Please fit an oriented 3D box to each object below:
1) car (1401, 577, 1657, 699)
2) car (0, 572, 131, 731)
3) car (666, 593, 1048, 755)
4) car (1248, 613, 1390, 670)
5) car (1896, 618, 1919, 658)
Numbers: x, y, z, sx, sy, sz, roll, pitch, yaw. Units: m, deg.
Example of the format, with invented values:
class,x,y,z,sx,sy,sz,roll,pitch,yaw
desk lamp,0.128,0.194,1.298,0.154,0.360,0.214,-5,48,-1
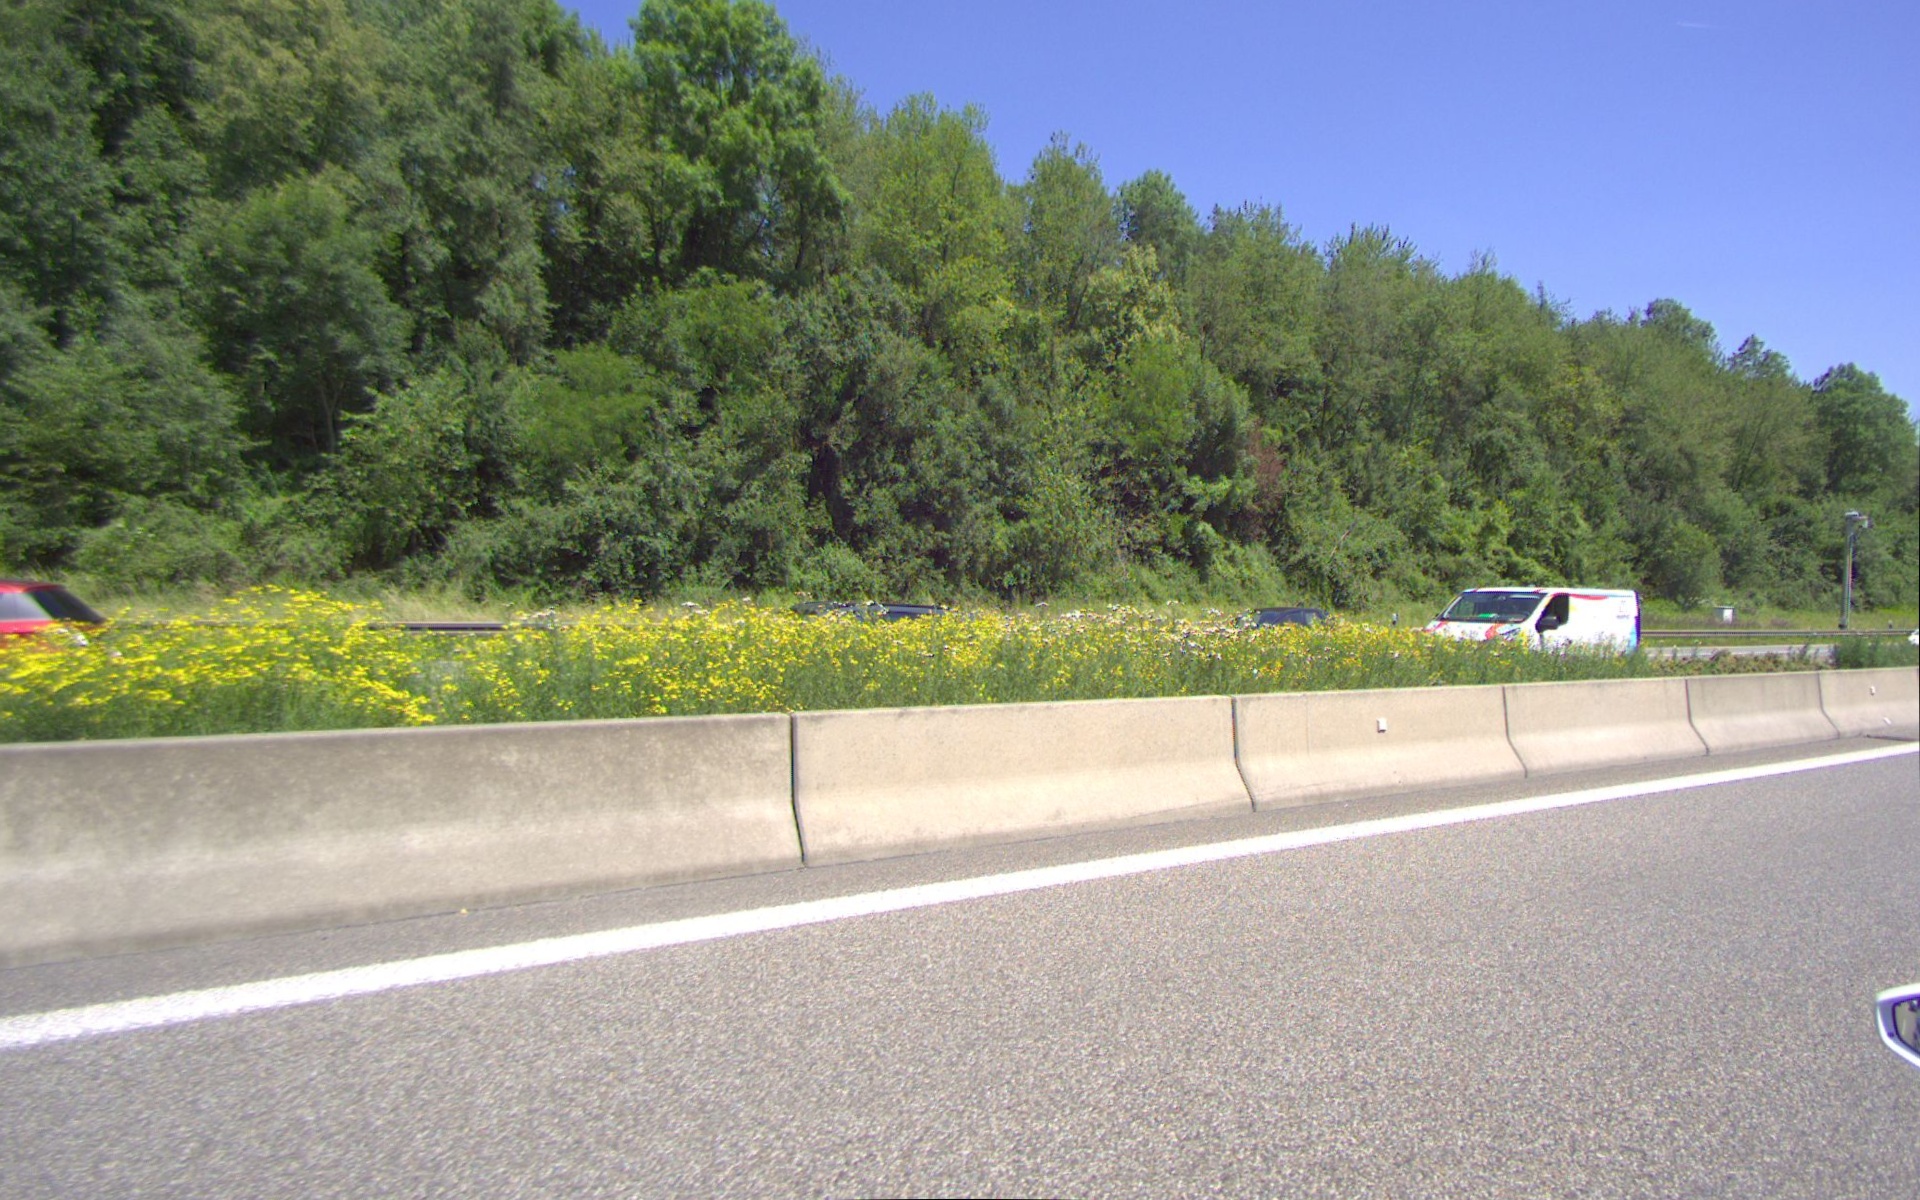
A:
class,x,y,z,sx,sy,sz,roll,pitch,yaw
car,10.670,0.689,18.759,4.843,2.040,1.984,2,0,-30
car,-10.341,0.466,9.628,3.469,1.500,1.605,1,0,-32
car,-1.170,0.777,11.673,3.953,1.572,1.984,2,0,-30
car,9.138,1.020,25.500,3.469,1.333,1.605,1,0,-32
car,38.445,1.513,39.352,3.785,1.528,1.662,1,0,-32
